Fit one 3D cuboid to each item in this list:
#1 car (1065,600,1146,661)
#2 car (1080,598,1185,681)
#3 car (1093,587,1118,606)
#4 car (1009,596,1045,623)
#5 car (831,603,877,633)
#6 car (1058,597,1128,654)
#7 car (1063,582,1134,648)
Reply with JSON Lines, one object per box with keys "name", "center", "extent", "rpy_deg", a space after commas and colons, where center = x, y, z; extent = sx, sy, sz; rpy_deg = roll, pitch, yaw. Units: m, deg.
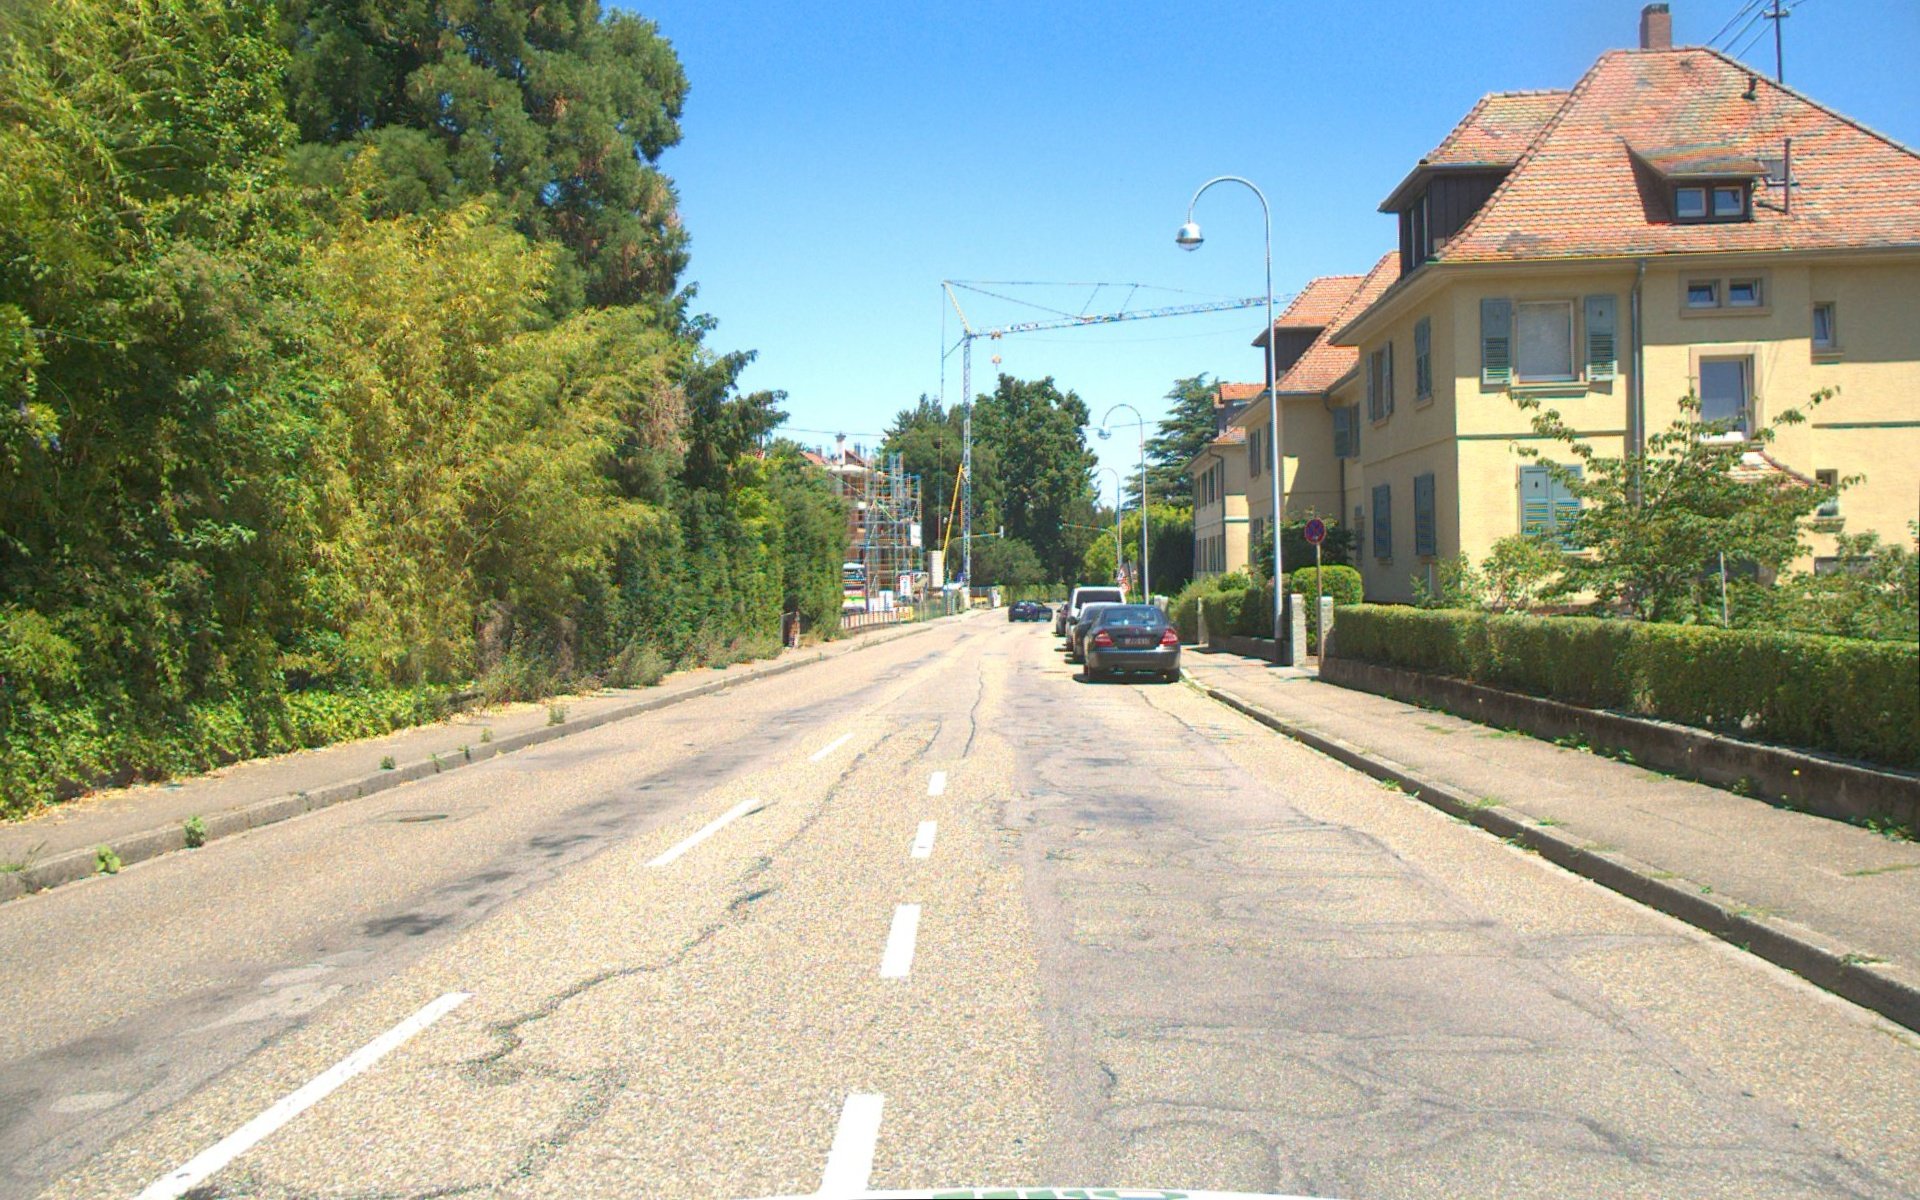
{"name": "car", "center": [3.567, 0.720, 41.227], "extent": [1.724, 1.395, 4.608], "rpy_deg": [-1, 0, 1]}
{"name": "car", "center": [3.226, 0.719, 31.692], "extent": [1.657, 1.443, 4.552], "rpy_deg": [-1, 0, 2]}
{"name": "car", "center": [13.508, -0.336, 153.083], "extent": [1.951, 1.691, 4.003], "rpy_deg": [-2, 0, 9]}
{"name": "car", "center": [4.266, 0.570, 104.578], "extent": [1.917, 1.494, 4.004], "rpy_deg": [-1, 2, 7]}
{"name": "car", "center": [-5.446, 0.918, 85.195], "extent": [1.624, 1.413, 3.538], "rpy_deg": [-2, 0, 8]}
{"name": "car", "center": [3.659, 0.679, 46.025], "extent": [1.724, 1.477, 3.649], "rpy_deg": [-1, 0, 1]}
{"name": "car", "center": [4.248, 0.449, 51.378], "extent": [1.952, 1.934, 4.824], "rpy_deg": [1, 0, 2]}
